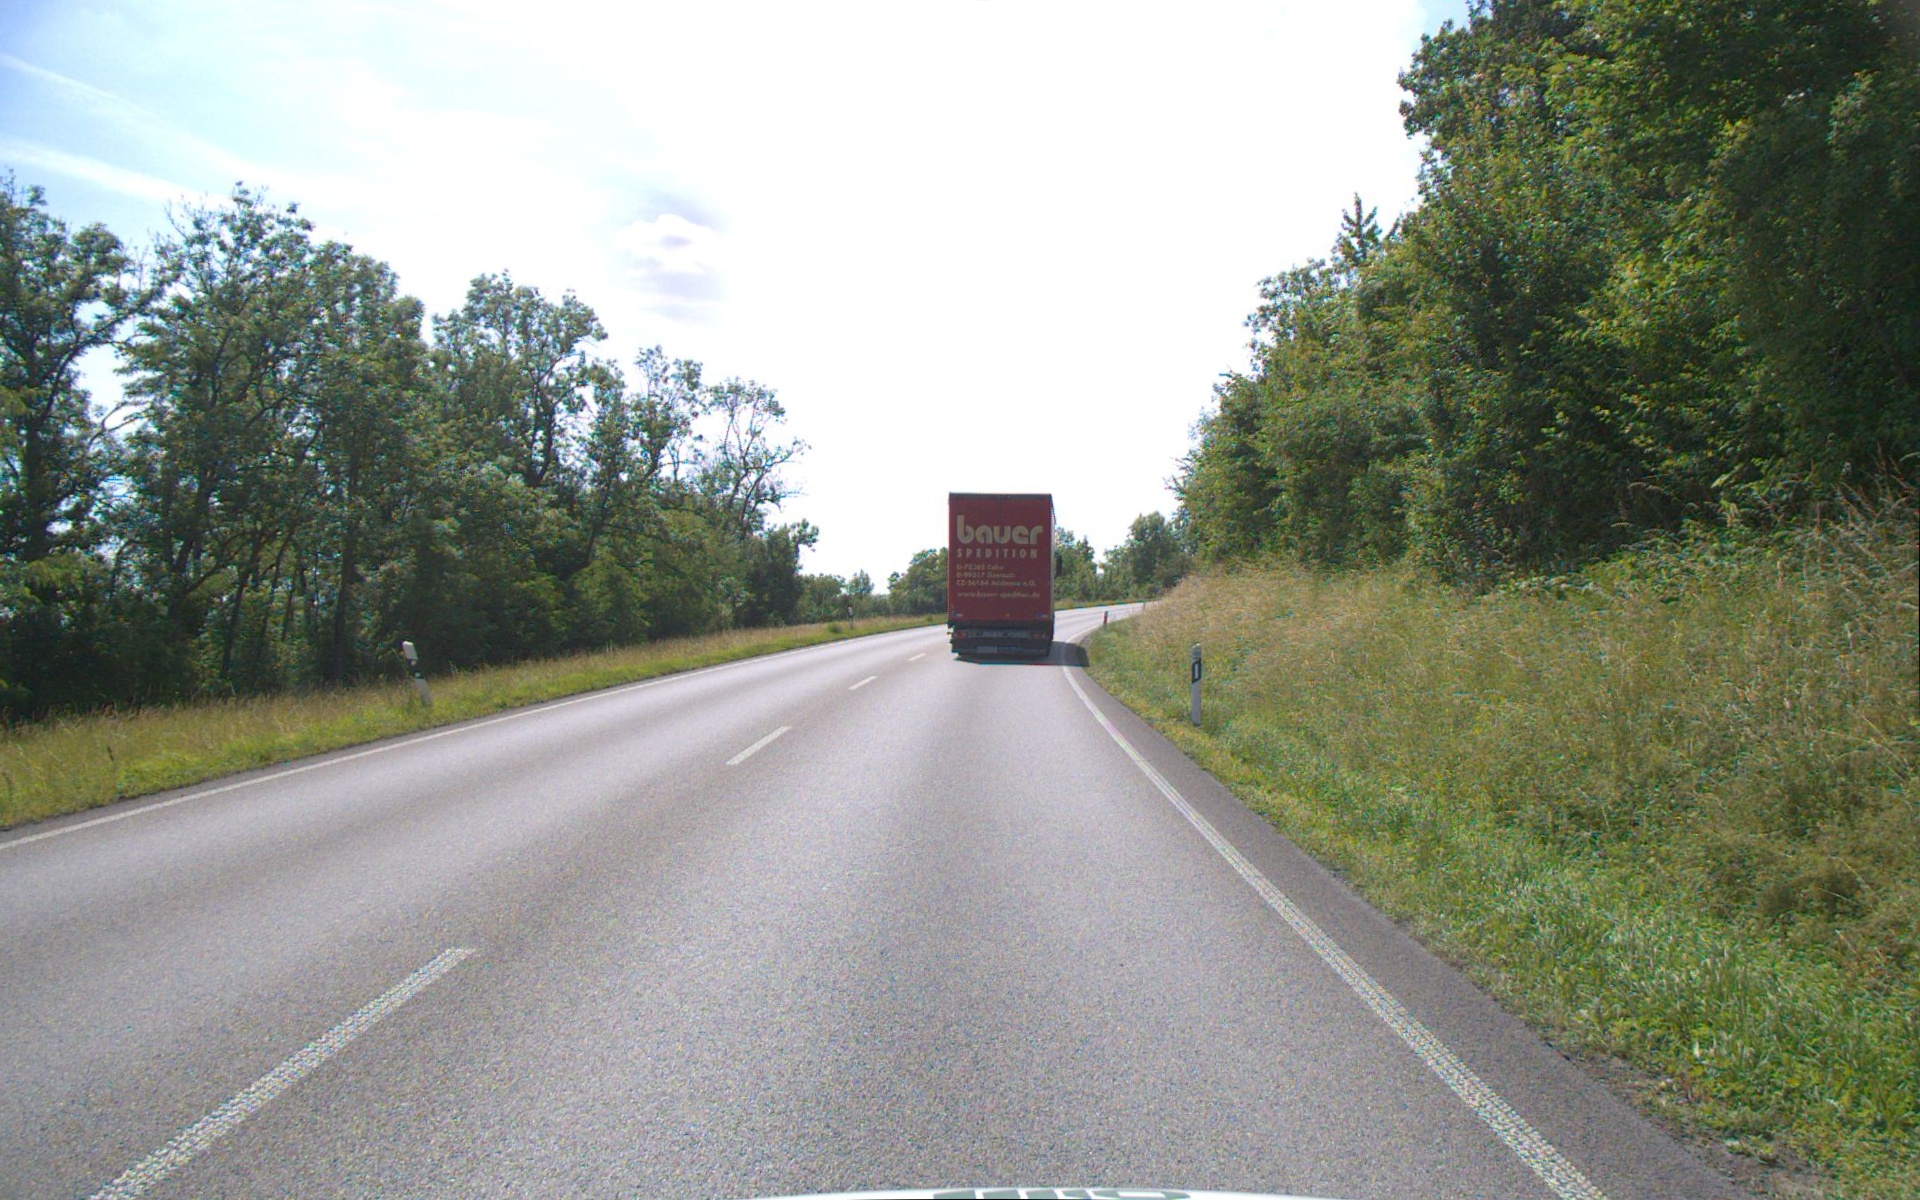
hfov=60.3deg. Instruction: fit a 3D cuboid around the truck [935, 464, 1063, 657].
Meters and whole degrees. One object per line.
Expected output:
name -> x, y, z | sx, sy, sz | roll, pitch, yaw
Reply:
truck -> 1.217, -0.941, 45.448 | 3.047, 4.584, 12.172 | 0, 0, 3
